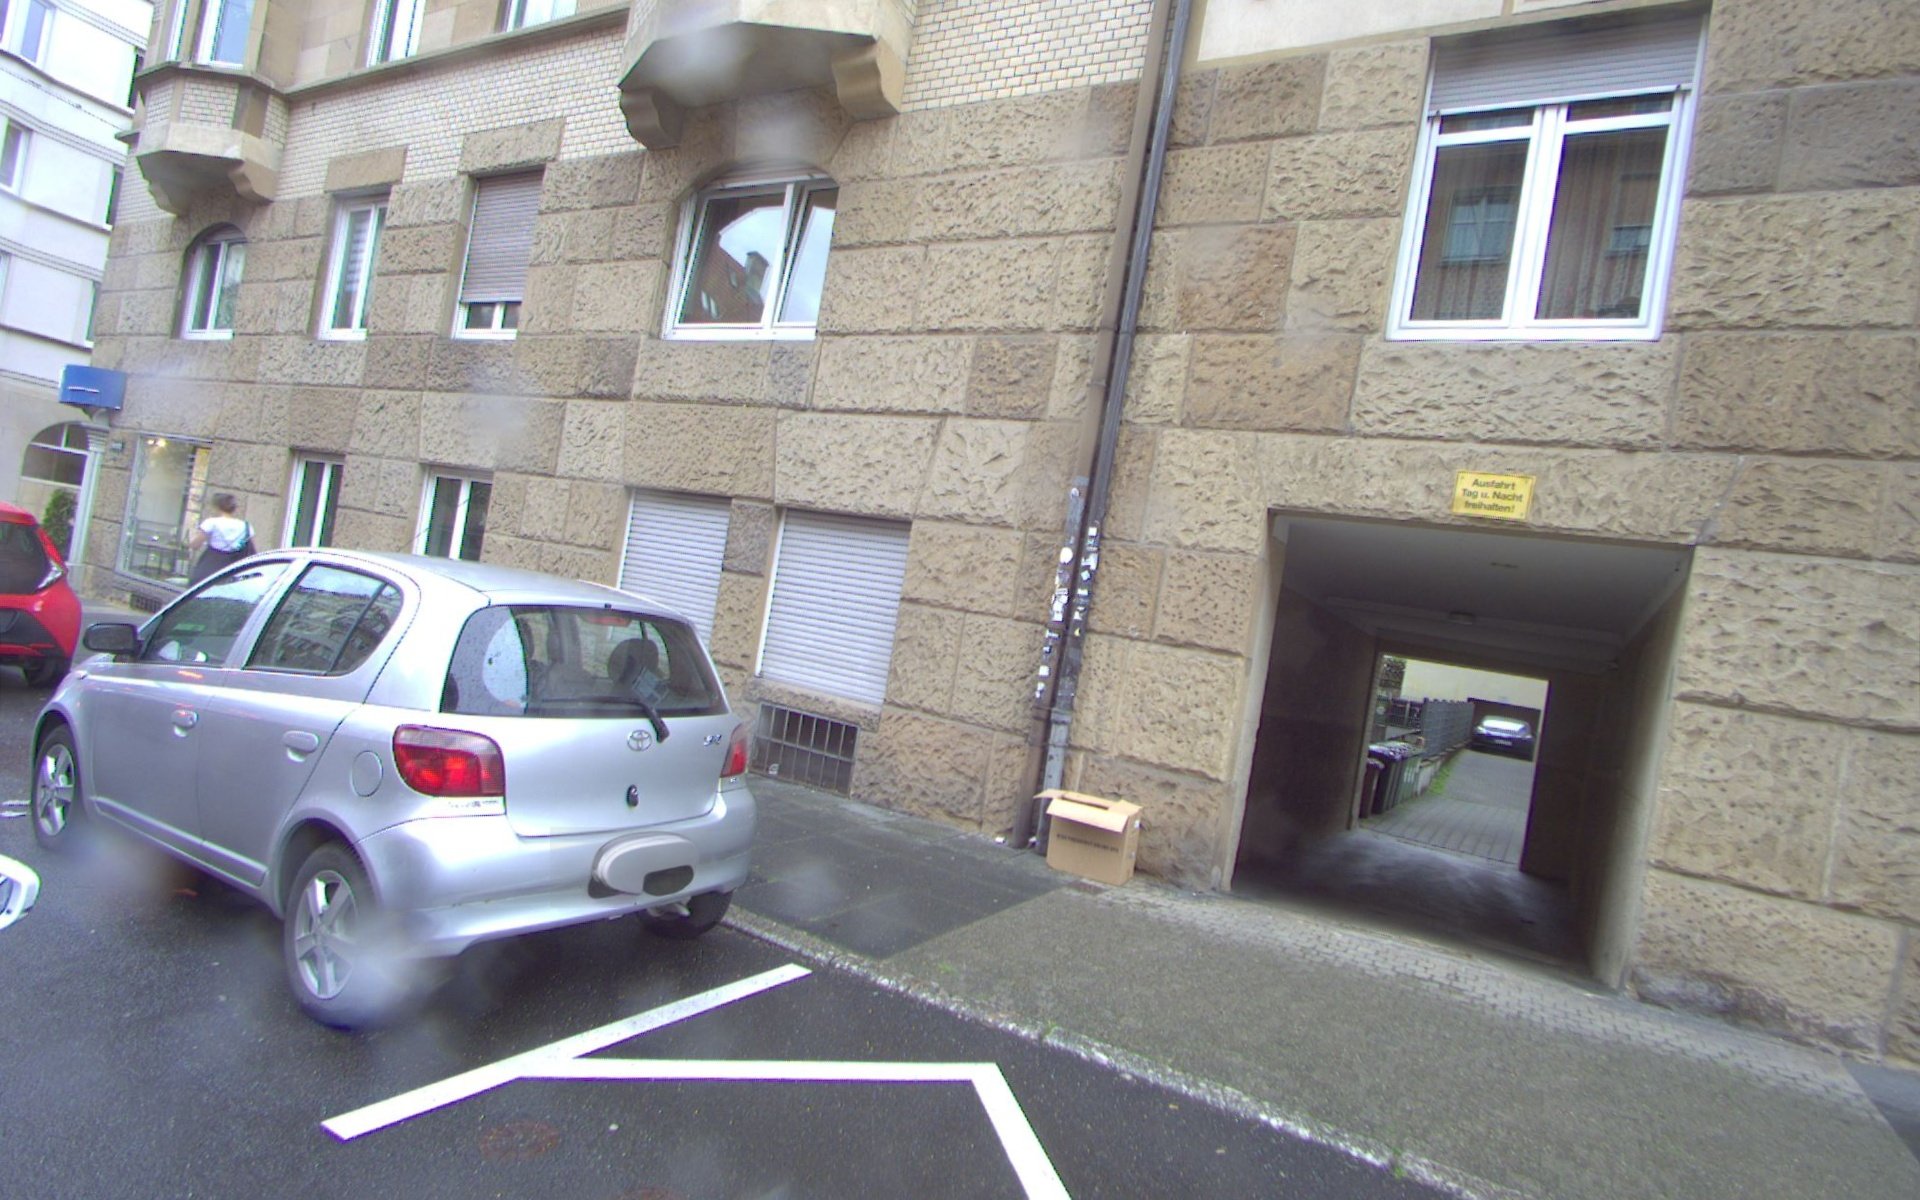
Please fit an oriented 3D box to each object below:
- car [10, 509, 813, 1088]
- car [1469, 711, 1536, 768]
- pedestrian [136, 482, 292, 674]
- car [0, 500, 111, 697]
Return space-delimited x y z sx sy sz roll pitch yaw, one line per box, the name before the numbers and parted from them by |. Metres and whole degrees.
car | -2.486 0.548 4.405 3.258 1.485 1.616 7 0 33
car | 18.341 4.666 33.950 1.693 1.538 4.102 7 -3 31
pedestrian | -7.508 -0.217 10.127 1.093 1.768 0.743 6 -1 32
car | -8.734 -0.201 8.183 3.243 1.464 1.646 7 -2 29
